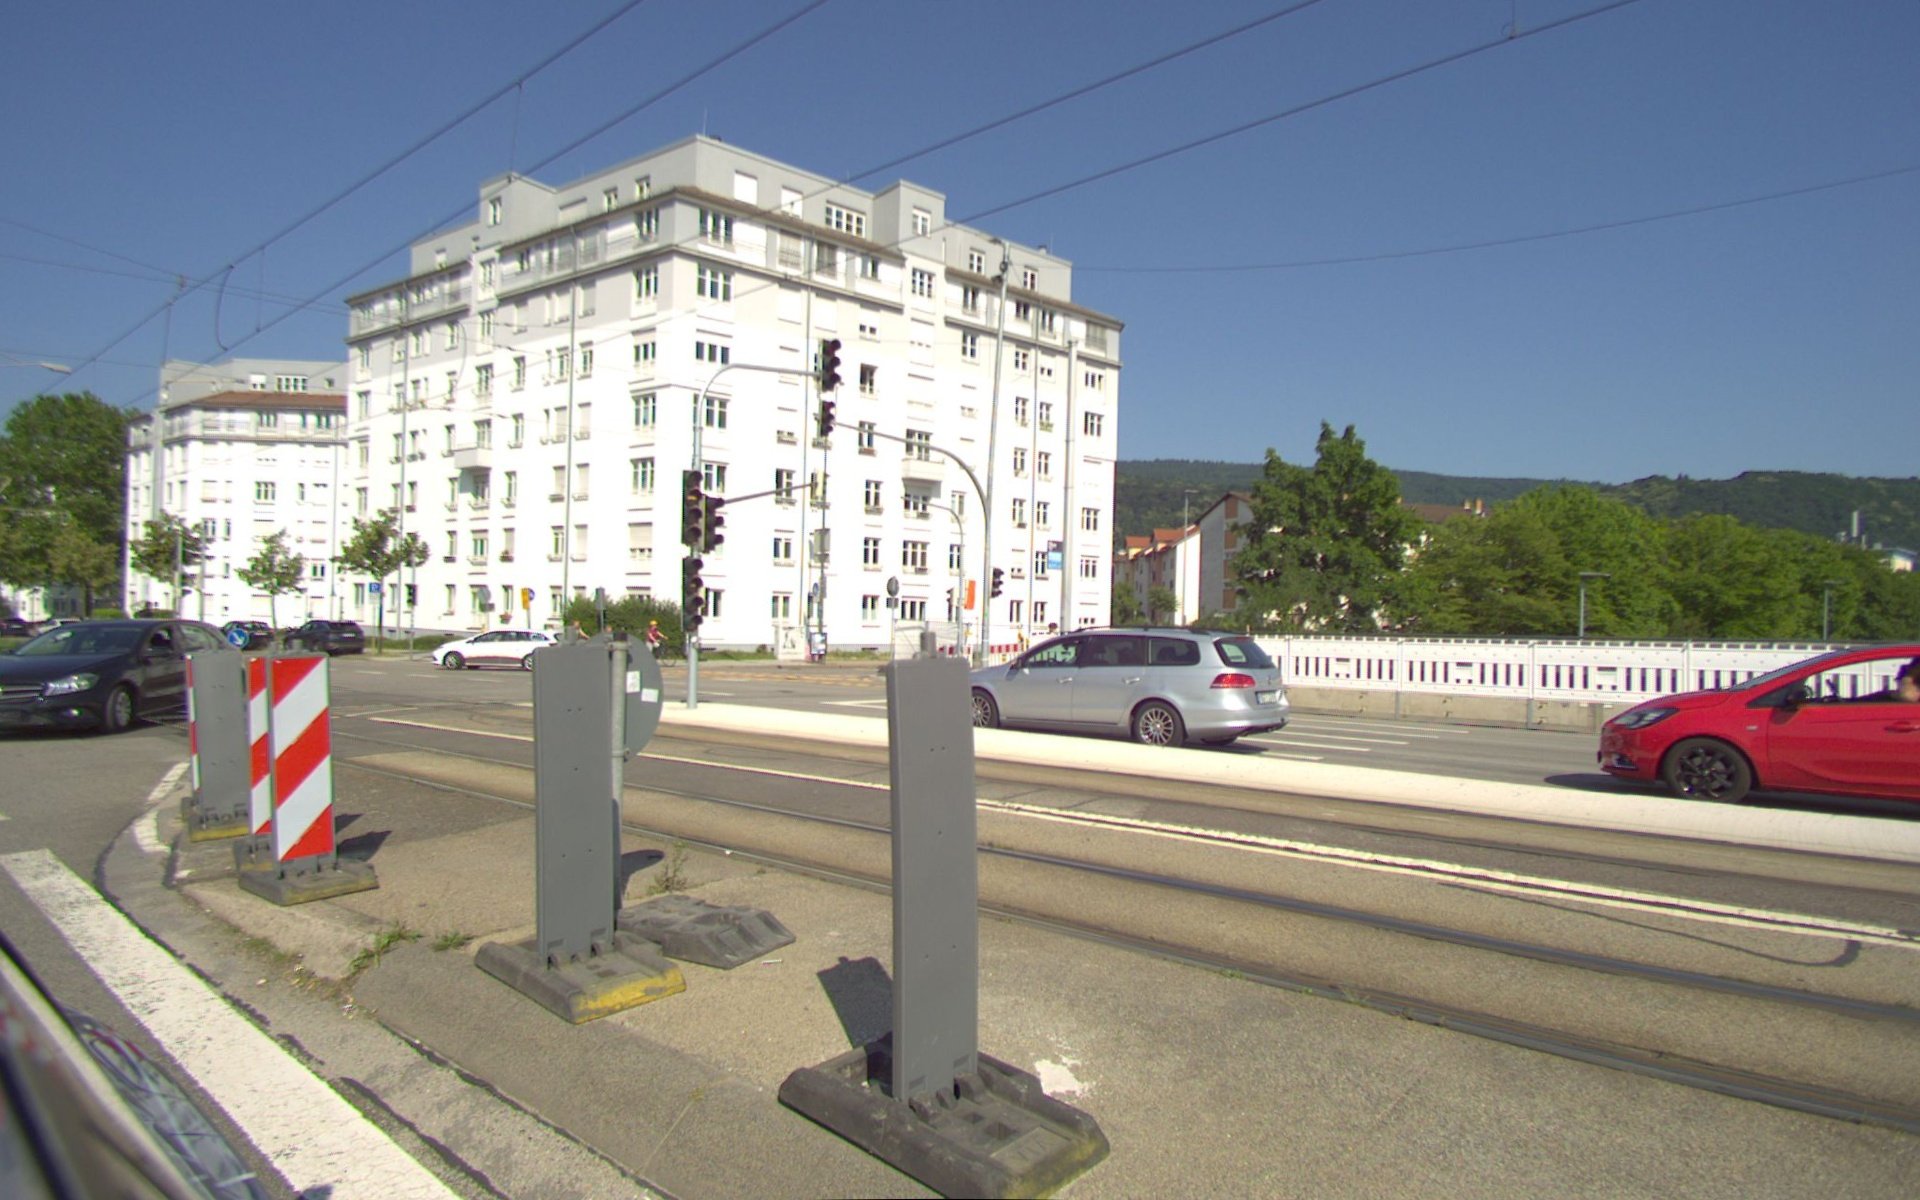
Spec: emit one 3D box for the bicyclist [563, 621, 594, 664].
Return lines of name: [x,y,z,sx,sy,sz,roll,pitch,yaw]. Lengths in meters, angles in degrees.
bicyclist: [-14.420,1.594,38.238,0.913,1.602,0.618,0,-1,27]

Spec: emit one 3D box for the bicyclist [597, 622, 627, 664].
bicyclist: [-13.243,1.633,38.565,0.913,1.591,0.618,0,-1,27]

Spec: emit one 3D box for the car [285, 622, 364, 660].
car: [-28.638,1.810,45.613,3.732,1.650,1.719,-1,-1,35]

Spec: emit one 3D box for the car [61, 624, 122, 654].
car: [-45.282,2.017,52.763,3.655,1.504,1.575,-1,-3,36]

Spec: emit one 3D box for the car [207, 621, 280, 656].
car: [-35.709,1.902,50.412,3.729,1.650,1.721,-1,-1,33]

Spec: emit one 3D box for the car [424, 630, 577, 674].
car: [-15.544,1.765,34.406,4.418,1.423,1.704,1,-1,-4]

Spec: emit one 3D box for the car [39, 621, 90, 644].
car: [-58.767,2.116,66.408,3.732,1.496,1.719,-1,-1,35]

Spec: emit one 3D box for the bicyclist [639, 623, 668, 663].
bicyclist: [-11.756,1.638,38.807,0.912,1.489,0.593,0,-2,25]

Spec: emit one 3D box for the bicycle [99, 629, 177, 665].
bicycle: [-25.826,1.465,31.827,1.881,1.028,0.823,-1,-2,-39]

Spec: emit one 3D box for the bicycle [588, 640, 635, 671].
bicycle: [-13.281,2.110,38.574,1.777,1.108,0.622,0,-1,27]

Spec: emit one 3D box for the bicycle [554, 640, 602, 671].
bicycle: [-14.432,2.082,38.230,1.777,1.108,0.613,1,-1,27]

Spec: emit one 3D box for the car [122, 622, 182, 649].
car: [-46.087,1.999,57.732,3.732,1.496,1.719,-1,-1,35]

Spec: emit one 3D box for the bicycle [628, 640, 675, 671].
bicycle: [-11.835,2.121,38.830,1.804,1.108,0.599,0,-2,25]

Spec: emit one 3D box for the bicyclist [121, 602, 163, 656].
bicyclist: [-25.761,0.923,31.899,0.993,1.666,0.810,1,-3,-39]

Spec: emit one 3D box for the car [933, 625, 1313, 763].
car: [1.935,1.086,12.973,4.640,1.448,1.621,-1,-4,40]

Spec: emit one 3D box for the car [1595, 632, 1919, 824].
car: [7.727,1.024,8.428,3.977,1.448,1.518,-1,-3,40]

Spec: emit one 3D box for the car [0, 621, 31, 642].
car: [-69.511,2.290,73.878,3.732,1.496,1.719,-1,-1,35]

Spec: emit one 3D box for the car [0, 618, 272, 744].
car: [-11.457,0.964,13.725,1.676,1.419,4.631,1,-1,-9]

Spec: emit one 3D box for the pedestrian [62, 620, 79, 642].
pedestrian: [-69.917,2.438,79.519,0.909,1.678,0.847,-1,-3,40]
